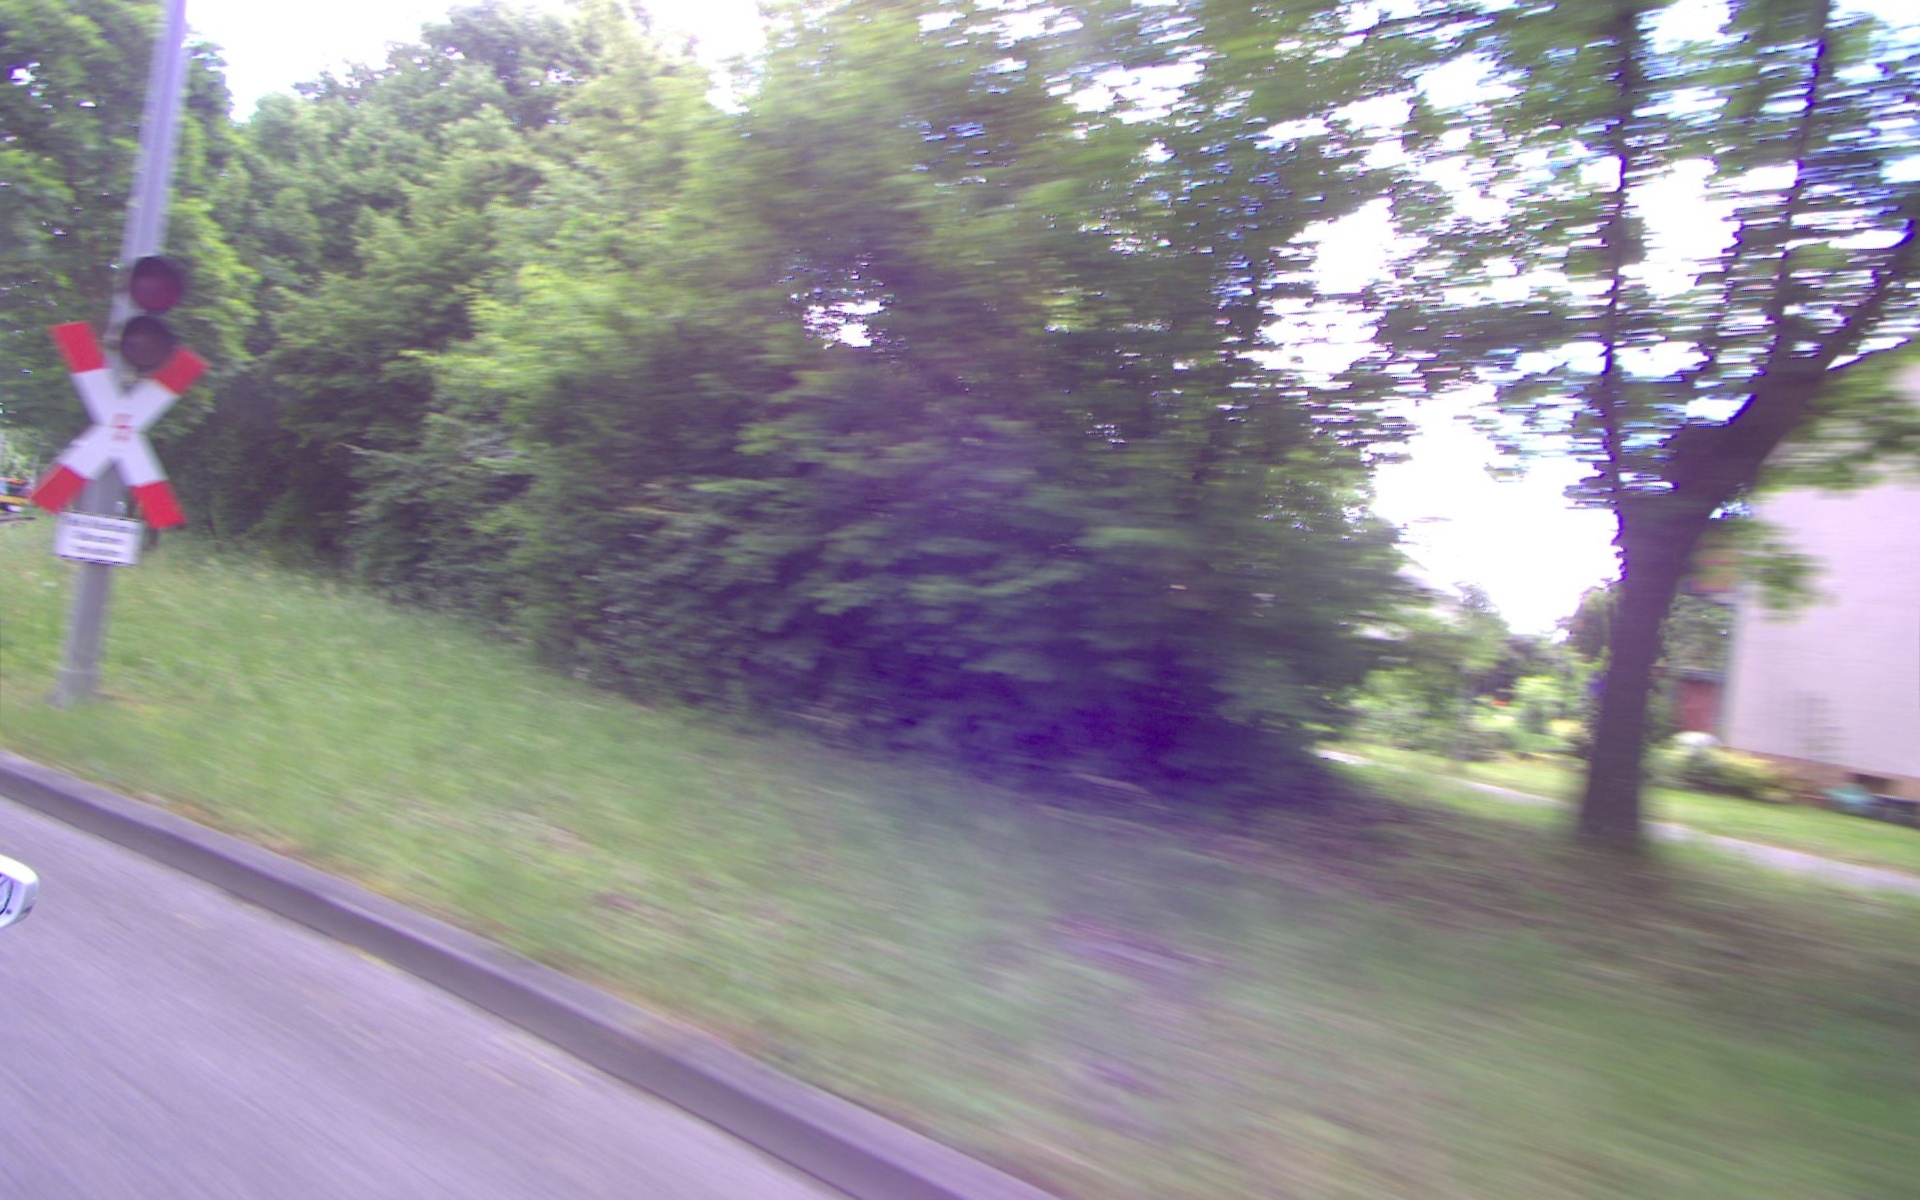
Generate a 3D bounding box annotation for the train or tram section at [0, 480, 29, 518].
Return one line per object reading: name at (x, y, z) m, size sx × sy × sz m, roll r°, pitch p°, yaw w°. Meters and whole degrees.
train or tram section at (-108.327, -11.731, 112.739) m, size 34.238 × 3.347 × 3.006 m, roll 7°, pitch -3°, yaw 43°
